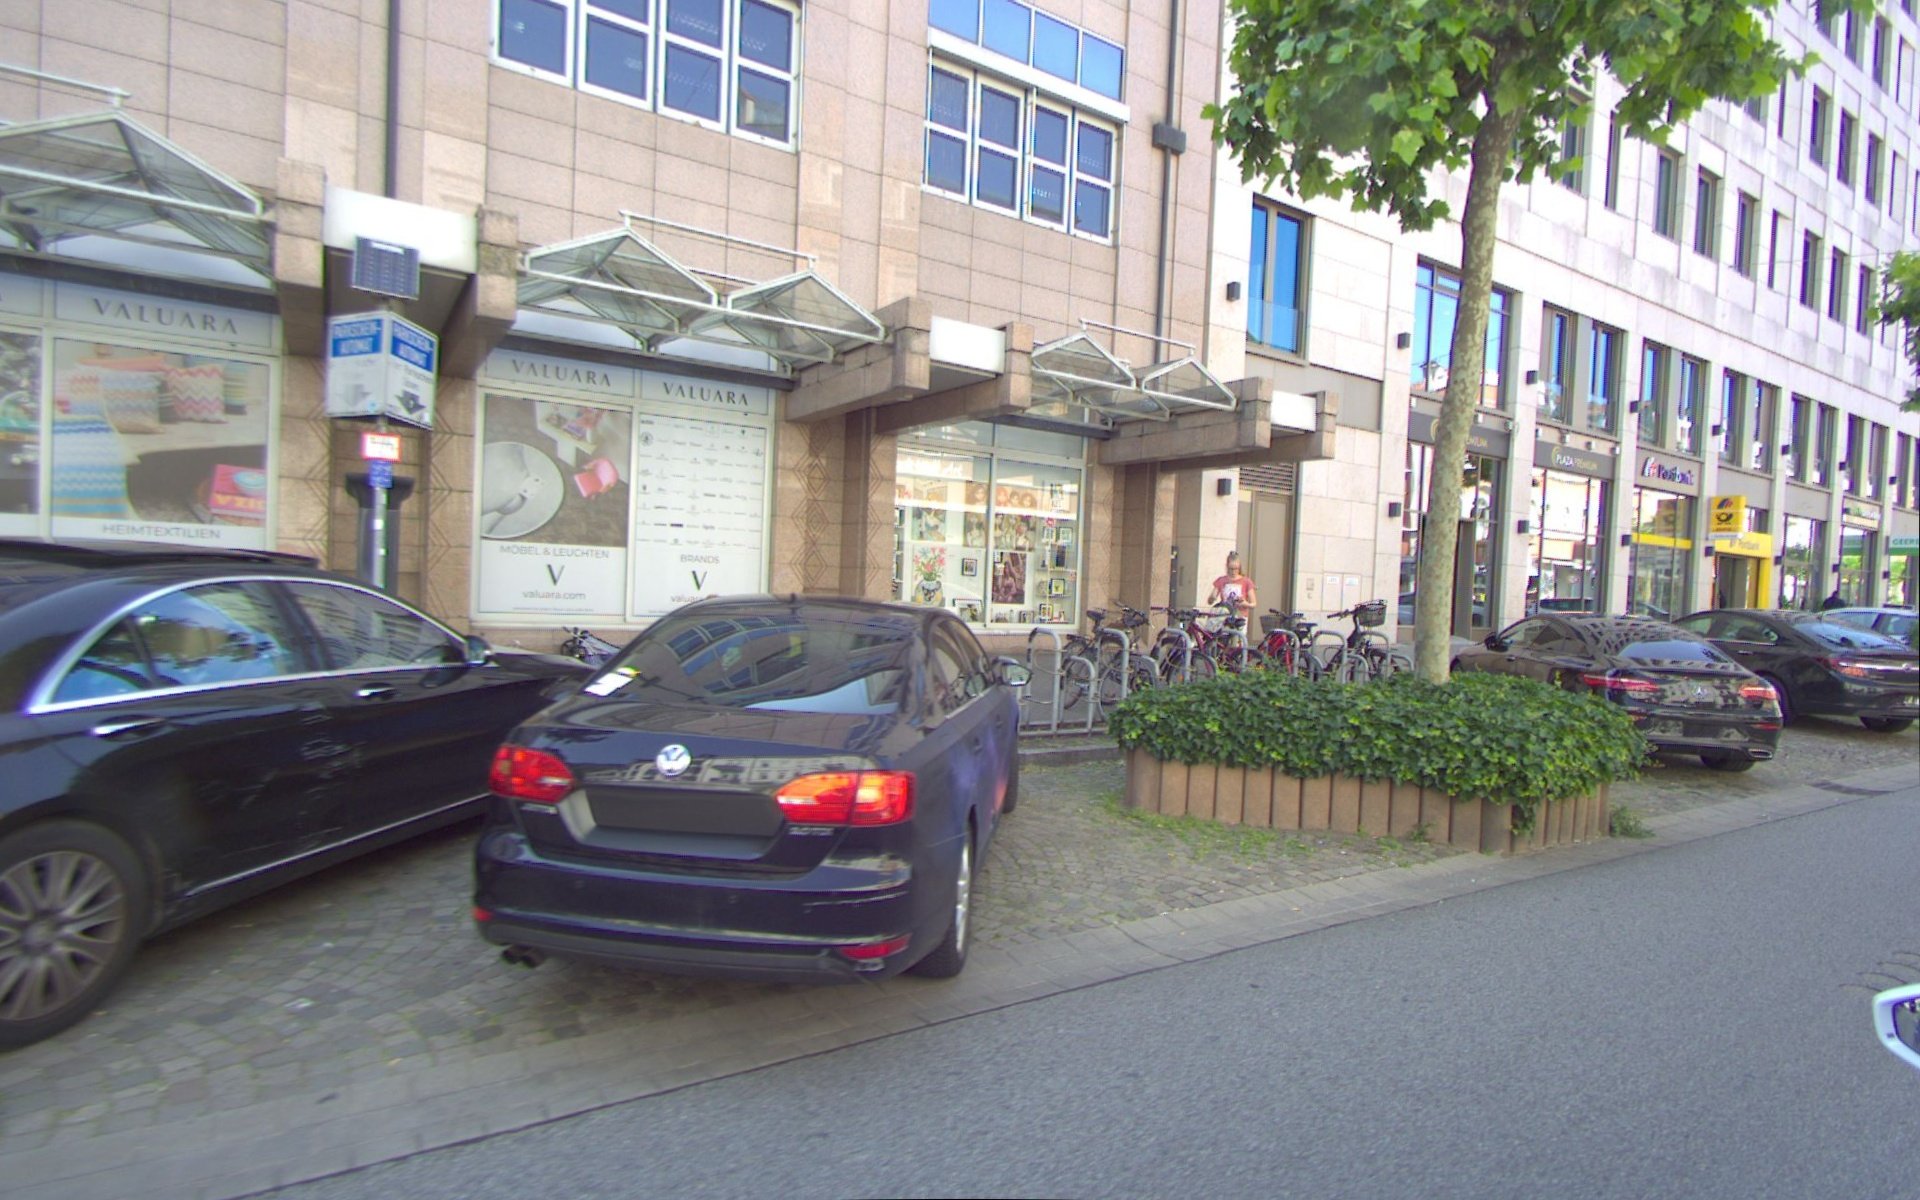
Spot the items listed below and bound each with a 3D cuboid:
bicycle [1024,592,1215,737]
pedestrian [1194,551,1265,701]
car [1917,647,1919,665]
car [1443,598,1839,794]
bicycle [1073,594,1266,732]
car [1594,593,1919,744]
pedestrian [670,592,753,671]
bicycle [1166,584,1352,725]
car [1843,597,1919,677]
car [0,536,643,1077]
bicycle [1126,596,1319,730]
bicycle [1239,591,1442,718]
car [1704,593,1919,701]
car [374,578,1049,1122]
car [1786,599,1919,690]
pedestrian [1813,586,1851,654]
[{"bbox_3d":[1.503,0.576,9.901,0.611,1.145,2.054,2,3,-31],"label":"bicycle"},{"bbox_3d":[3.153,0.289,11.742,0.558,1.679,0.634,3,1,37],"label":"pedestrian"},{"bbox_3d":[24.584,1.128,22.955,1.637,1.479,4.000,5,5,4],"label":"car"},{"bbox_3d":[7.036,0.822,11.107,1.868,1.427,4.653,3,3,11],"label":"car"},{"bbox_3d":[2.102,0.595,10.372,0.460,1.145,2.048,1,4,-39],"label":"bicycle"},{"bbox_3d":[11.281,0.824,14.118,1.798,1.534,4.352,3,3,-2],"label":"car"},{"bbox_3d":[-2.887,0.361,11.666,0.766,0.820,0.562,1,6,-33],"label":"pedestrian"},{"bbox_3d":[3.268,0.554,11.200,0.364,1.306,2.048,1,4,-39],"label":"bicycle"},{"bbox_3d":[21.696,0.972,21.482,1.669,1.589,3.994,4,5,-7],"label":"car"},{"bbox_3d":[-3.479,0.531,4.441,1.950,1.554,4.759,3,2,10],"label":"car"},{"bbox_3d":[2.746,0.621,10.746,0.460,1.145,2.048,1,4,-39],"label":"bicycle"},{"bbox_3d":[4.486,0.600,11.955,2.042,1.236,0.756,7,4,42],"label":"bicycle"},{"bbox_3d":[16.253,0.845,18.266,1.701,1.520,3.959,1,5,-36],"label":"car"},{"bbox_3d":[-0.592,0.677,5.407,1.845,1.442,4.799,3,3,8],"label":"car"},{"bbox_3d":[18.837,0.950,19.469,1.754,1.510,3.987,3,4,-15],"label":"car"},{"bbox_3d":[26.308,0.600,30.311,0.693,2.040,0.620,1,1,-32],"label":"pedestrian"}]
